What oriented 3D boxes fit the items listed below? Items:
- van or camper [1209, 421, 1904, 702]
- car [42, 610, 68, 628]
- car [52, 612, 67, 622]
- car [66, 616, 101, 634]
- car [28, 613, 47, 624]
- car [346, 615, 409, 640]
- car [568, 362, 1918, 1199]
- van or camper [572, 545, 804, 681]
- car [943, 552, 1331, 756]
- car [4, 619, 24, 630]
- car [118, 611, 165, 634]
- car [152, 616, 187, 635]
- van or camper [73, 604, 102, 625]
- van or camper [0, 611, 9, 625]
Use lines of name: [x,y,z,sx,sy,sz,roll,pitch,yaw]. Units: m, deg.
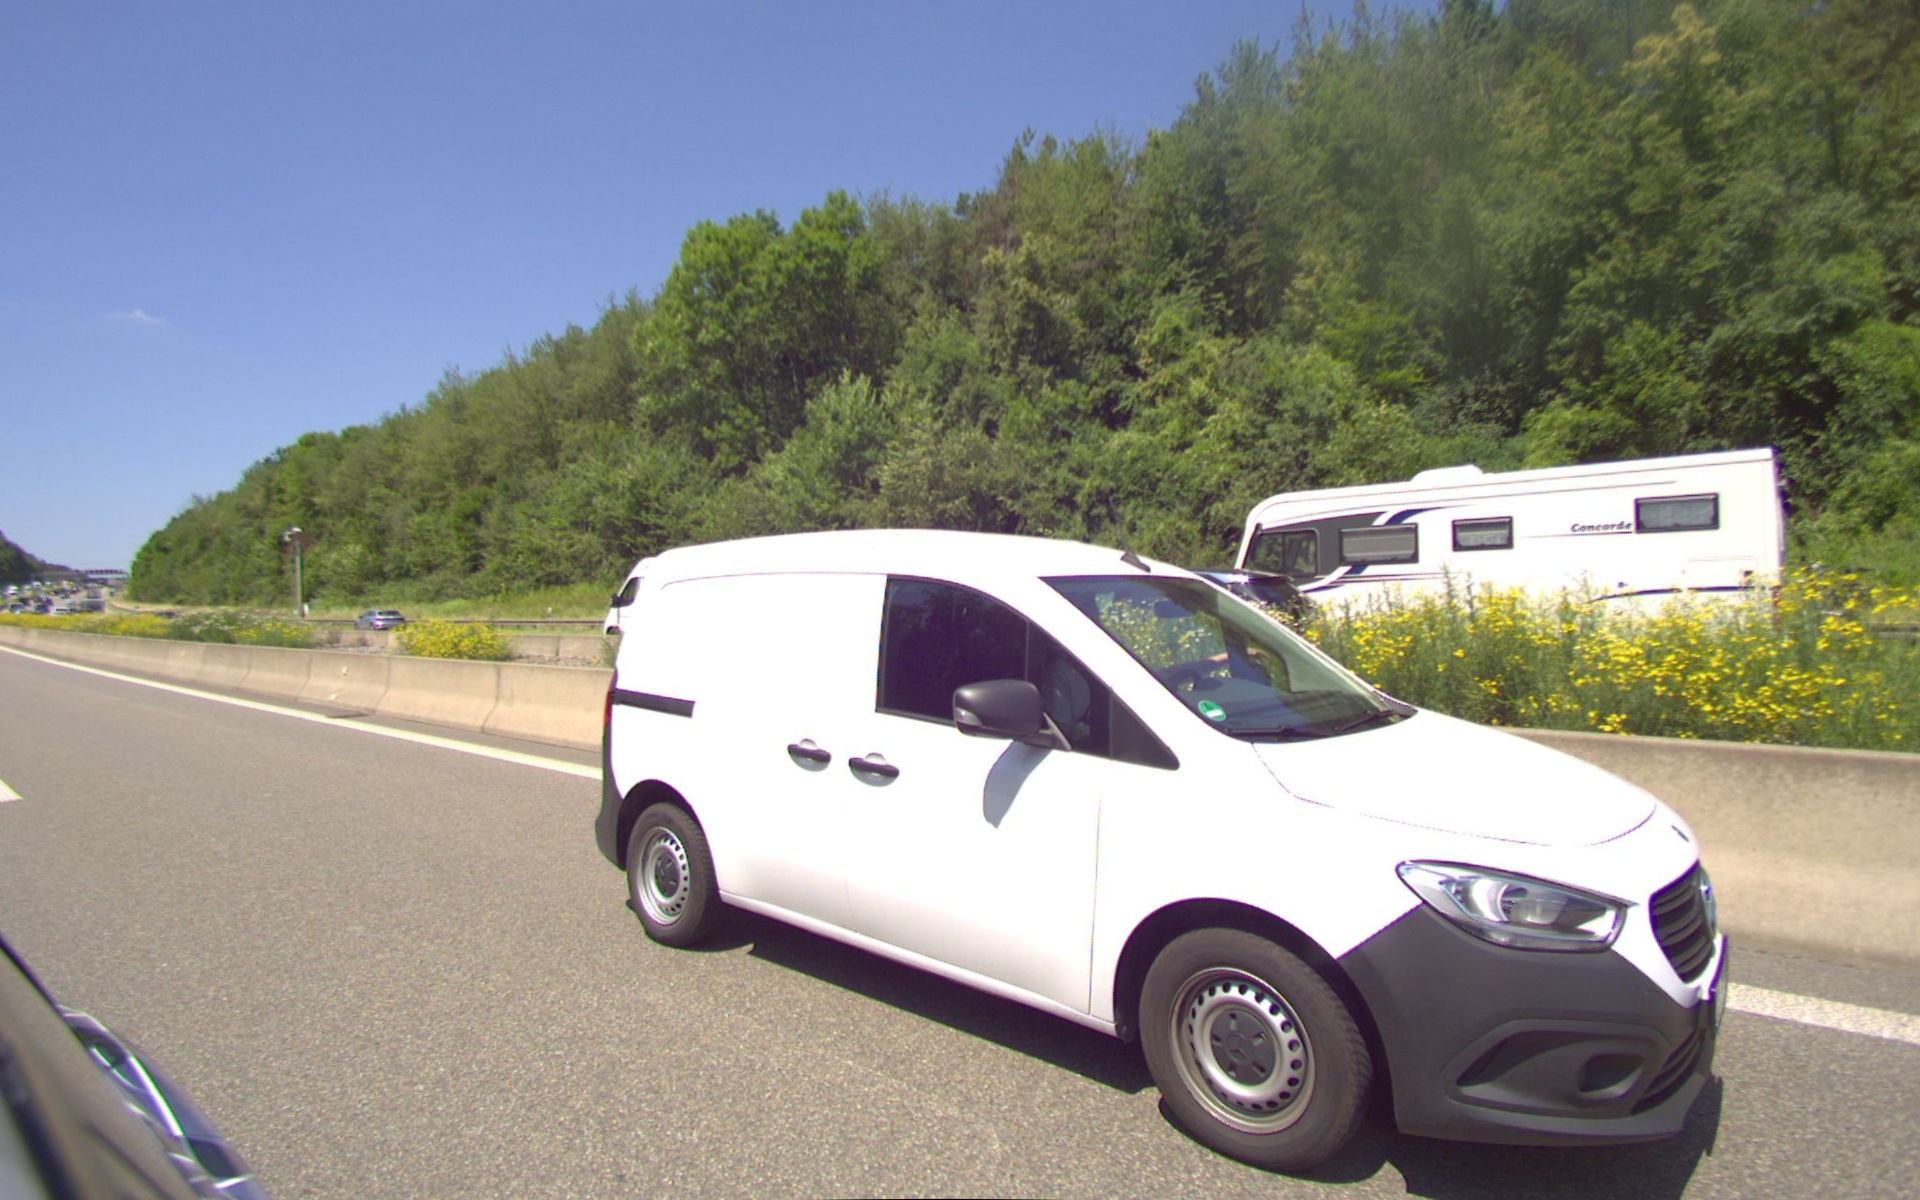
van or camper: [8.611,-0.480,15.928,8.997,3.342,2.514,0,0,41]
car: [-106.706,2.238,119.361,4.569,2.029,1.971,0,0,44]
car: [-160.167,3.025,179.950,1.969,1.629,4.490,0,-1,-42]
car: [-82.895,2.332,95.707,4.161,1.602,1.972,0,0,42]
car: [-149.003,2.981,163.409,4.402,1.703,1.971,0,0,44]
car: [-34.264,1.601,59.496,4.189,1.443,1.973,-1,-1,41]
car: [0.450,0.530,3.944,4.672,1.826,1.746,-1,-1,41]
van or camper: [-6.812,0.330,24.807,6.553,2.921,2.234,-1,-1,41]
car: [1.934,0.535,11.748,3.999,1.940,1.972,-1,0,42]
car: [-129.715,3.366,138.757,3.857,1.497,1.788,-1,-1,44]
car: [-58.876,1.625,72.779,4.272,1.599,1.972,-1,-1,42]
car: [-68.155,2.173,87.244,3.999,1.467,1.769,0,0,42]
van or camper: [-113.082,1.837,131.165,6.933,2.579,2.162,0,0,43]
van or camper: [-149.732,2.768,157.712,4.587,2.029,1.863,0,0,42]
